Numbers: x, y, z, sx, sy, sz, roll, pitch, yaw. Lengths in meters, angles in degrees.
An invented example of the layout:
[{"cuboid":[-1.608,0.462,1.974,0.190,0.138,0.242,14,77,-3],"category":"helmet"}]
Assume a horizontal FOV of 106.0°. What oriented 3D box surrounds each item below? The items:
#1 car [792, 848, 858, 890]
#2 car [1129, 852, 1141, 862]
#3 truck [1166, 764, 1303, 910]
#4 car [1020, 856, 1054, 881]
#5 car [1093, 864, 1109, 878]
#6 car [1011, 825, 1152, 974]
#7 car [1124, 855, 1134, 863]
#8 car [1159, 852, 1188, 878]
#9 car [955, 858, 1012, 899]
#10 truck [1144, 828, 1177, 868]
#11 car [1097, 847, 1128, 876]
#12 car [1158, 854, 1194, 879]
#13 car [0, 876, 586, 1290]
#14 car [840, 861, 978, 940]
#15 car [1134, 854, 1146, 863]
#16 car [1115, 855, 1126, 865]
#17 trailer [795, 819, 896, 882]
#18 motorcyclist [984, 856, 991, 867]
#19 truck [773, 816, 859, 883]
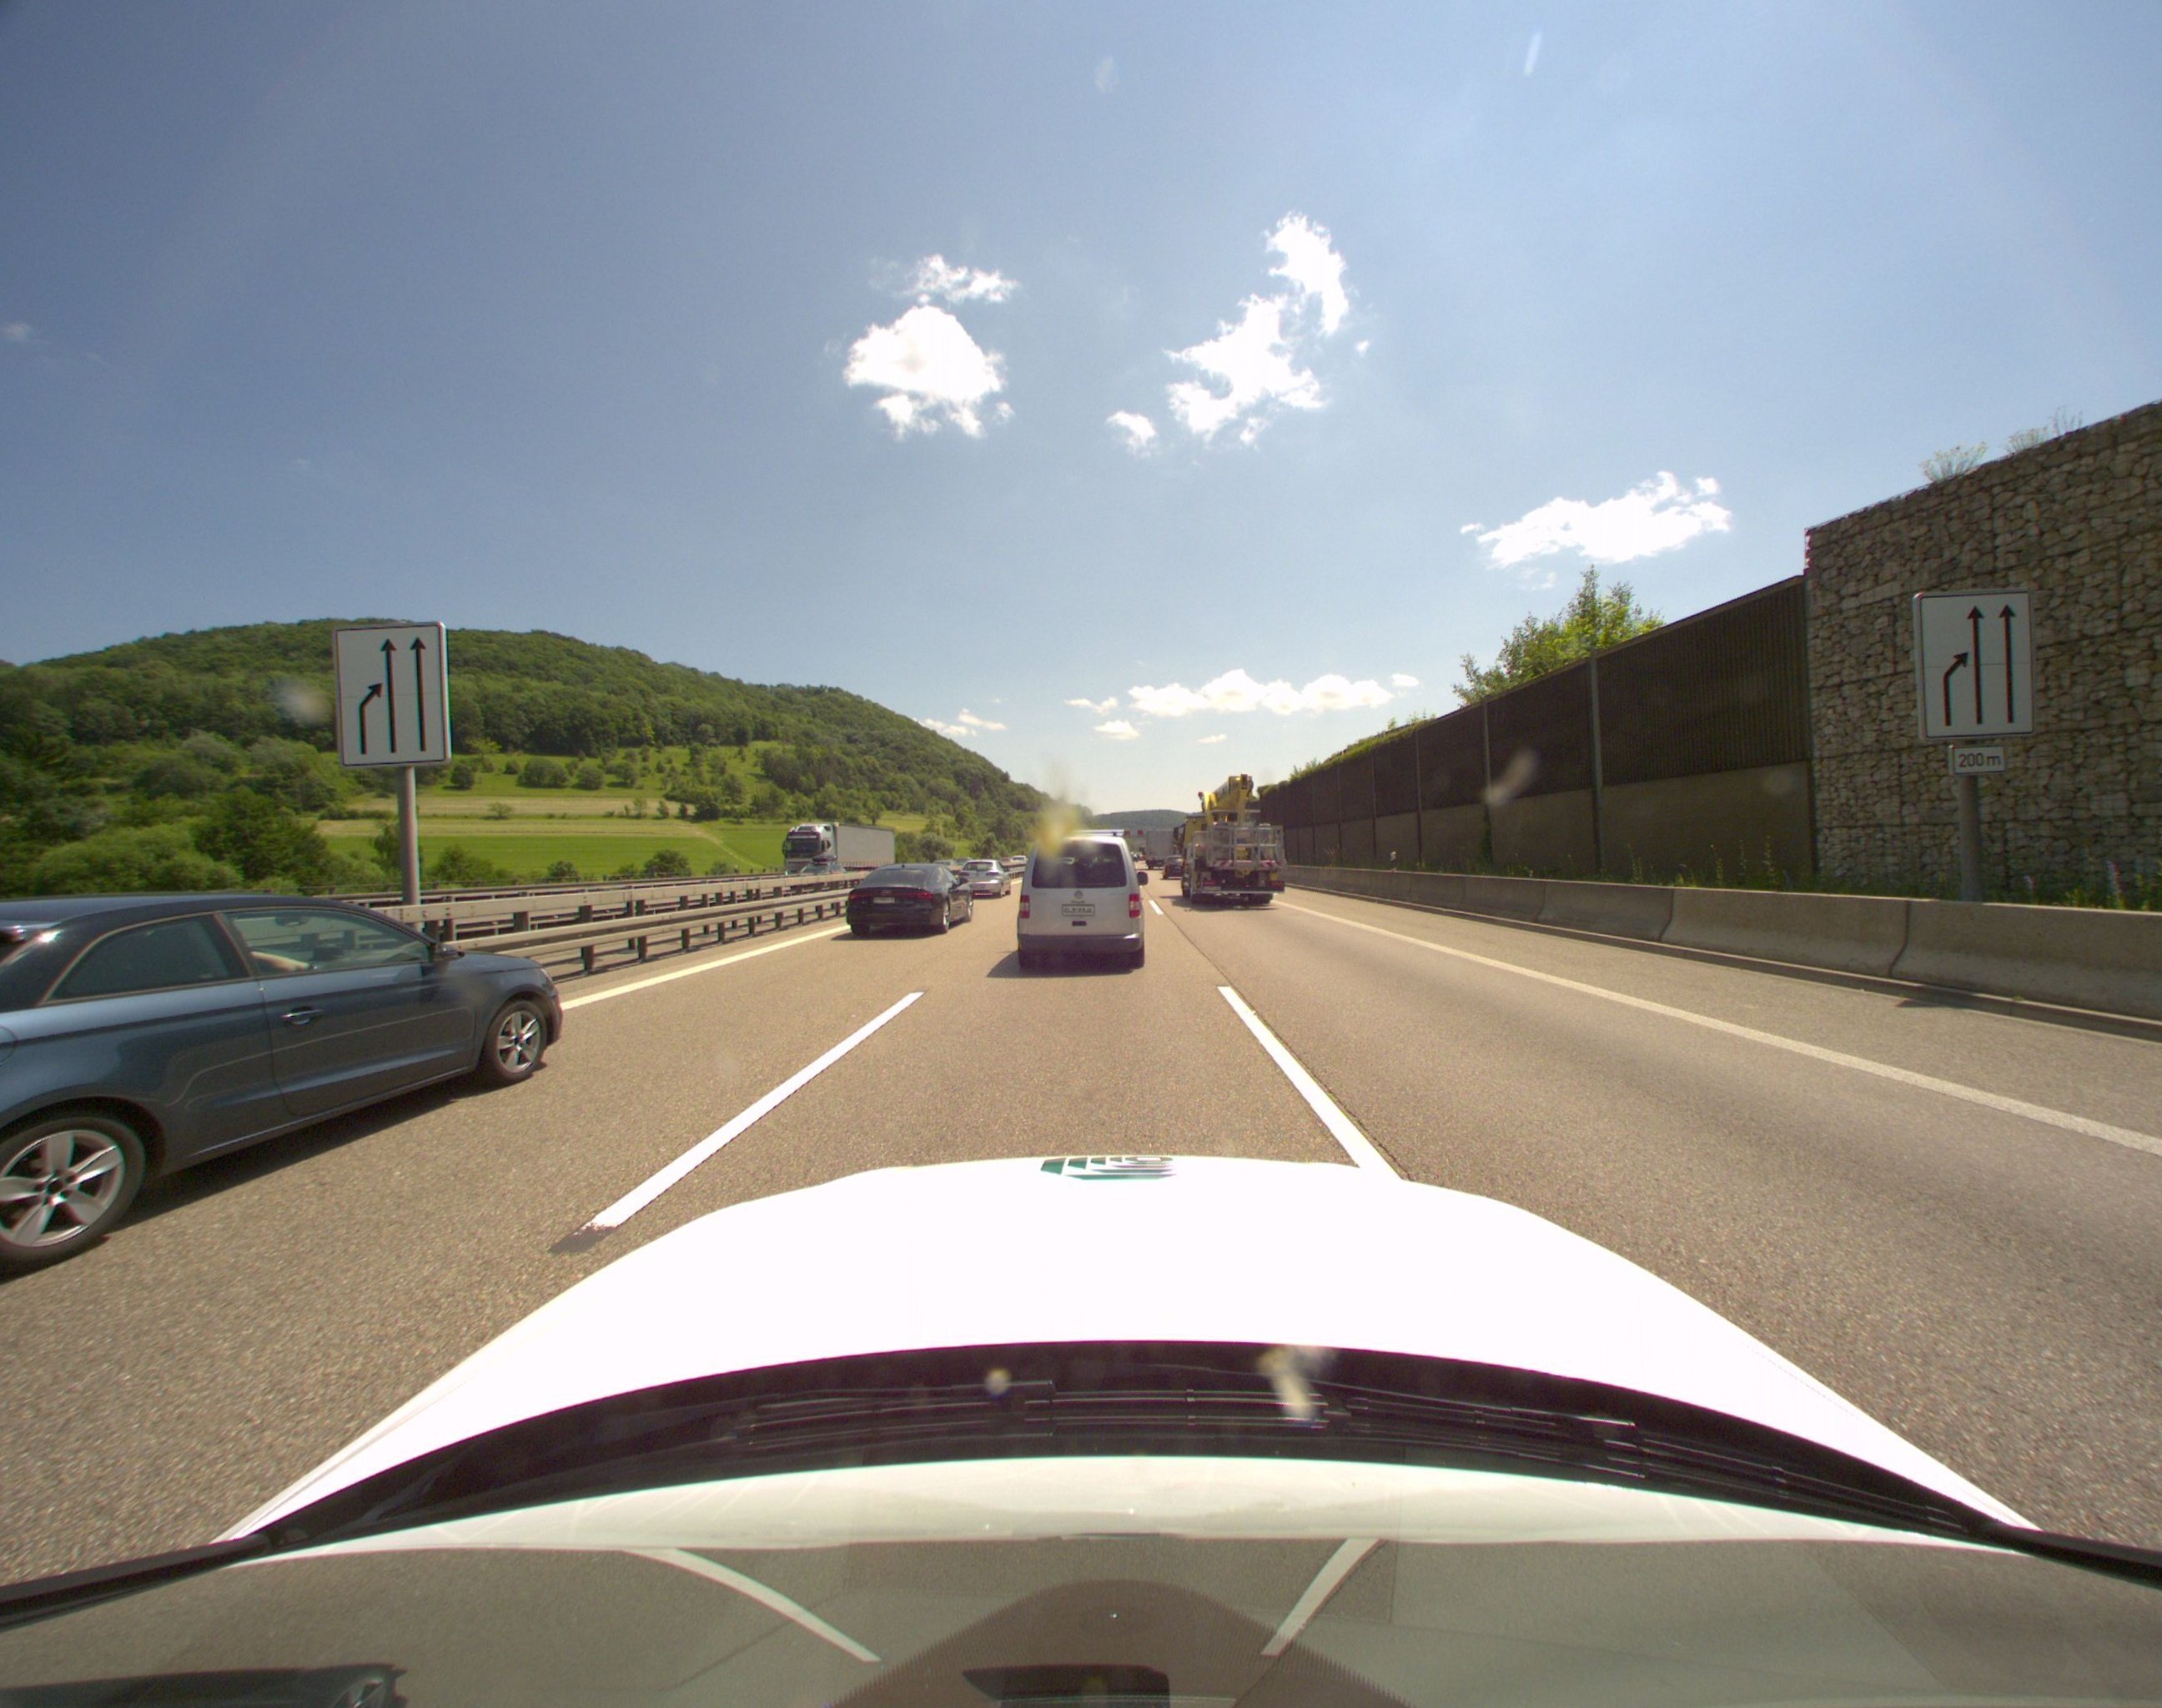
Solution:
[{"cuboid":[-13.587,0.767,43.472,1.877,2.118,4.288,-1,0,4],"category":"car"},{"cuboid":[9.530,0.552,142.802,1.986,1.749,4.002,0,-1,2],"category":"car"},{"cuboid":[4.680,-0.452,26.724,2.696,3.942,8.718,-1,0,-1],"category":"truck"},{"cuboid":[-2.702,0.877,50.457,1.919,1.499,3.998,-1,0,-1],"category":"car"},{"cuboid":[2.741,2.212,109.646,2.106,1.828,4.002,0,-1,2],"category":"car"},{"cuboid":[-0.011,0.584,12.384,1.751,1.868,3.998,-1,0,-1],"category":"car"},{"cuboid":[11.004,1.138,186.907,2.108,1.828,3.998,0,-1,-1],"category":"car"},{"cuboid":[7.616,0.893,67.190,1.987,2.013,4.000,-1,0,1],"category":"car"},{"cuboid":[-3.673,0.887,31.125,1.690,1.445,3.861,-1,0,0],"category":"car"},{"cuboid":[7.986,-0.543,82.511,2.928,3.823,8.243,0,-1,3],"category":"truck"},{"cuboid":[2.254,0.537,58.554,1.988,1.975,3.998,-1,0,-1],"category":"car"},{"cuboid":[5.910,0.760,51.042,1.781,1.458,3.769,-1,0,-1],"category":"car"},{"cuboid":[-4.678,0.875,4.256,1.683,1.388,4.000,-1,0,0],"category":"car"},{"cuboid":[-3.499,0.885,17.600,1.794,1.390,4.970,-1,0,1],"category":"car"},{"cuboid":[12.294,0.944,170.456,2.108,1.828,3.998,0,-1,-1],"category":"car"},{"cuboid":[7.921,1.197,163.976,2.108,1.828,3.998,0,-1,-1],"category":"car"},{"cuboid":[-17.277,-0.169,61.018,3.234,4.204,13.007,0,-1,3],"category":"trailer"},{"cuboid":[-13.014,1.025,113.893,0.841,1.501,0.838,-1,0,1],"category":"motorcyclist"},{"cuboid":[-17.549,-0.220,54.447,3.266,4.148,6.957,-1,-1,2],"category":"truck"}]
